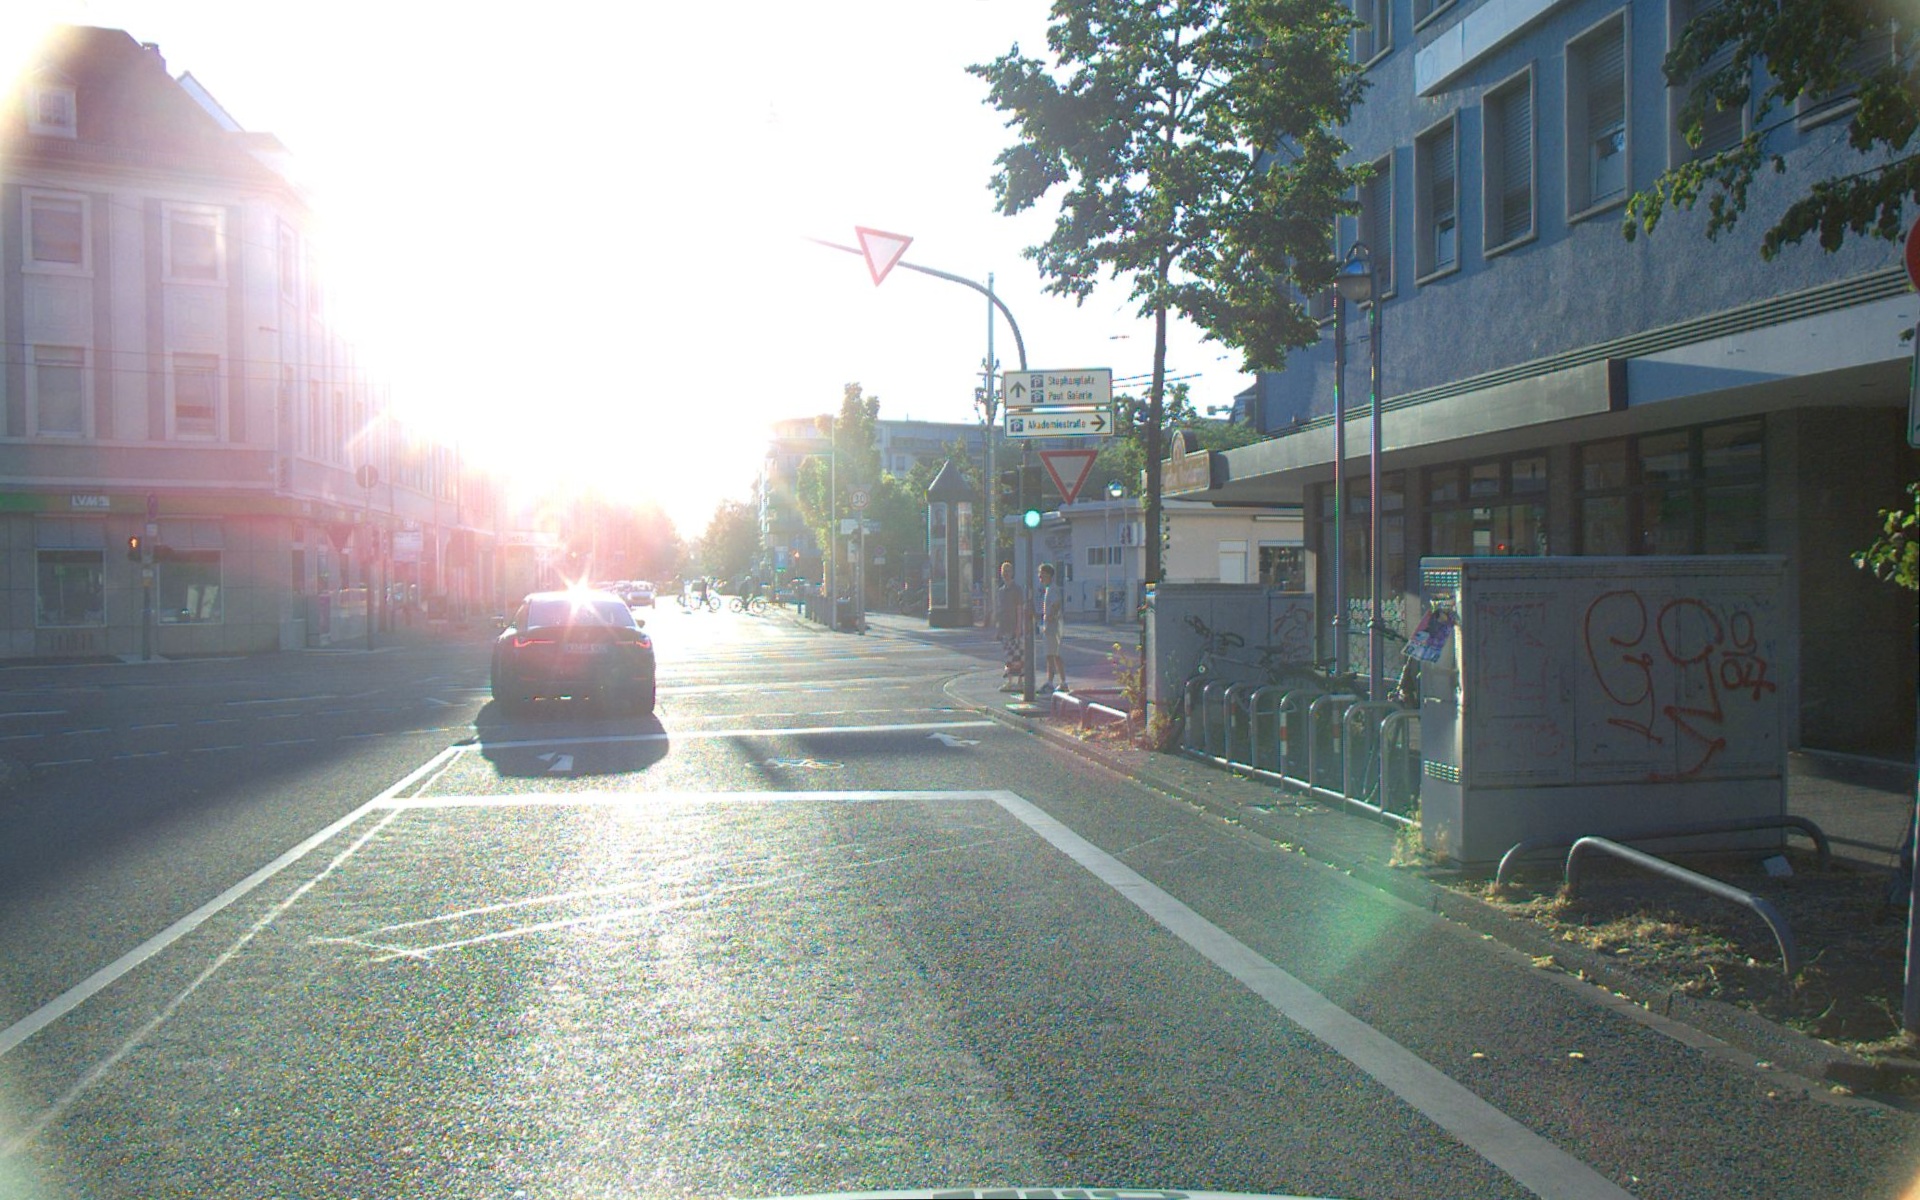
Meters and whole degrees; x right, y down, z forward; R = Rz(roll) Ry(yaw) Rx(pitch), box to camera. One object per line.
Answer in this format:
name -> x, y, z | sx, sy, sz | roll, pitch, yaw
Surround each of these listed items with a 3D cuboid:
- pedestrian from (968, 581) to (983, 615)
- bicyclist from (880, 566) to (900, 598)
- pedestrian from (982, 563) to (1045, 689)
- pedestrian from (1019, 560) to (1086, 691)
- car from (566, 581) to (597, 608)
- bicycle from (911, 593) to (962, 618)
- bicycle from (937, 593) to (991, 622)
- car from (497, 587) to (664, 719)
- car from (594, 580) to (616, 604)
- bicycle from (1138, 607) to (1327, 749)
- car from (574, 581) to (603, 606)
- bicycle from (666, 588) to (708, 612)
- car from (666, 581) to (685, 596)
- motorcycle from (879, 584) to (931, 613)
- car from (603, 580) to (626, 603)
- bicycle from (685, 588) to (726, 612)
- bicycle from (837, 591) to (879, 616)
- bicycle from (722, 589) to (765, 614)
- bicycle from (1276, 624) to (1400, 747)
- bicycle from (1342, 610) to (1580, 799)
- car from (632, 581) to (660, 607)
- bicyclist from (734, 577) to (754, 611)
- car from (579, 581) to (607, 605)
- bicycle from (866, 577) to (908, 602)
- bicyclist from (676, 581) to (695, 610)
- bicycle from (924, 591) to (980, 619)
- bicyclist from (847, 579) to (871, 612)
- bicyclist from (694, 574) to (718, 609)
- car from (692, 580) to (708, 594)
pedestrian -> 0.765, -0.095, 81.194 | 0.667, 1.686, 0.695 | 1, -1, -1
bicyclist -> -3.631, -0.912, 85.424 | 0.939, 1.629, 0.646 | 1, -1, 3
pedestrian -> 0.783, 0.365, 24.238 | 0.581, 1.804, 0.739 | -1, 0, -40
pedestrian -> 1.306, 0.343, 23.392 | 0.630, 1.804, 0.742 | -1, 1, -30
car -> -22.022, -0.333, 96.274 | 1.517, 1.509, 3.344 | -1, 1, -10
bicycle -> -0.951, 0.226, 67.450 | 2.035, 0.999, 0.560 | -1, 0, -1
bicycle -> 0.150, 0.268, 61.766 | 1.979, 1.062, 0.560 | -1, 0, -1
car -> -4.878, 0.625, 21.308 | 1.858, 1.506, 4.527 | 1, 0, -13
car -> -23.931, -0.557, 111.462 | 1.283, 1.610, 2.882 | 0, 0, -10
bicycle -> 2.444, 0.685, 14.853 | 1.629, 1.215, 0.475 | 0, 1, -15
car -> -22.400, -0.376, 99.897 | 1.517, 1.495, 3.344 | 0, 0, -10
bicycle -> -14.251, 0.005, 86.294 | 2.074, 1.225, 0.500 | 1, -1, -1
car -> -32.664, -1.345, 189.859 | 1.956, 1.713, 3.994 | -1, 1, -7
motorcycle -> -2.352, -0.066, 70.468 | 2.190, 1.222, 0.720 | -1, 1, -4
car -> -24.464, -0.615, 117.230 | 1.456, 1.586, 3.251 | 0, 0, -10
bicycle -> -13.726, -0.001, 89.228 | 2.073, 1.225, 0.500 | 1, -1, 3
bicycle -> -5.169, 0.177, 84.133 | 2.073, 1.225, 0.500 | 1, -1, 2
bicycle -> -10.977, 0.065, 83.805 | 2.072, 1.225, 0.500 | 1, -1, 8
bicycle -> 3.523, 0.769, 15.555 | 0.396, 1.028, 1.664 | -2, 1, -14
bicycle -> 3.458, 0.690, 11.393 | 1.633, 1.215, 0.491 | -1, 1, -22
car -> -18.258, -0.321, 96.295 | 1.517, 1.493, 3.344 | 0, 0, -10
bicyclist -> -10.962, -0.315, 83.802 | 0.832, 1.687, 0.677 | 1, -1, 8
car -> -23.233, -0.415, 104.796 | 1.517, 1.494, 3.344 | 0, 0, -10
bicycle -> -3.761, -0.533, 85.407 | 2.073, 1.225, 0.500 | 1, -1, 2
bicyclist -> -14.327, -0.237, 86.324 | 0.881, 1.507, 0.735 | 1, -1, -1
bicycle -> -0.292, 0.193, 62.799 | 2.103, 1.062, 0.560 | -1, 0, -1
bicyclist -> -5.150, -0.215, 84.138 | 1.105, 1.629, 0.702 | 1, -1, 3
bicyclist -> -13.691, -0.458, 89.216 | 1.105, 1.822, 0.765 | 1, -1, 4
car -> -35.320, -1.765, 225.066 | 1.956, 1.847, 3.994 | 1, 0, -7
